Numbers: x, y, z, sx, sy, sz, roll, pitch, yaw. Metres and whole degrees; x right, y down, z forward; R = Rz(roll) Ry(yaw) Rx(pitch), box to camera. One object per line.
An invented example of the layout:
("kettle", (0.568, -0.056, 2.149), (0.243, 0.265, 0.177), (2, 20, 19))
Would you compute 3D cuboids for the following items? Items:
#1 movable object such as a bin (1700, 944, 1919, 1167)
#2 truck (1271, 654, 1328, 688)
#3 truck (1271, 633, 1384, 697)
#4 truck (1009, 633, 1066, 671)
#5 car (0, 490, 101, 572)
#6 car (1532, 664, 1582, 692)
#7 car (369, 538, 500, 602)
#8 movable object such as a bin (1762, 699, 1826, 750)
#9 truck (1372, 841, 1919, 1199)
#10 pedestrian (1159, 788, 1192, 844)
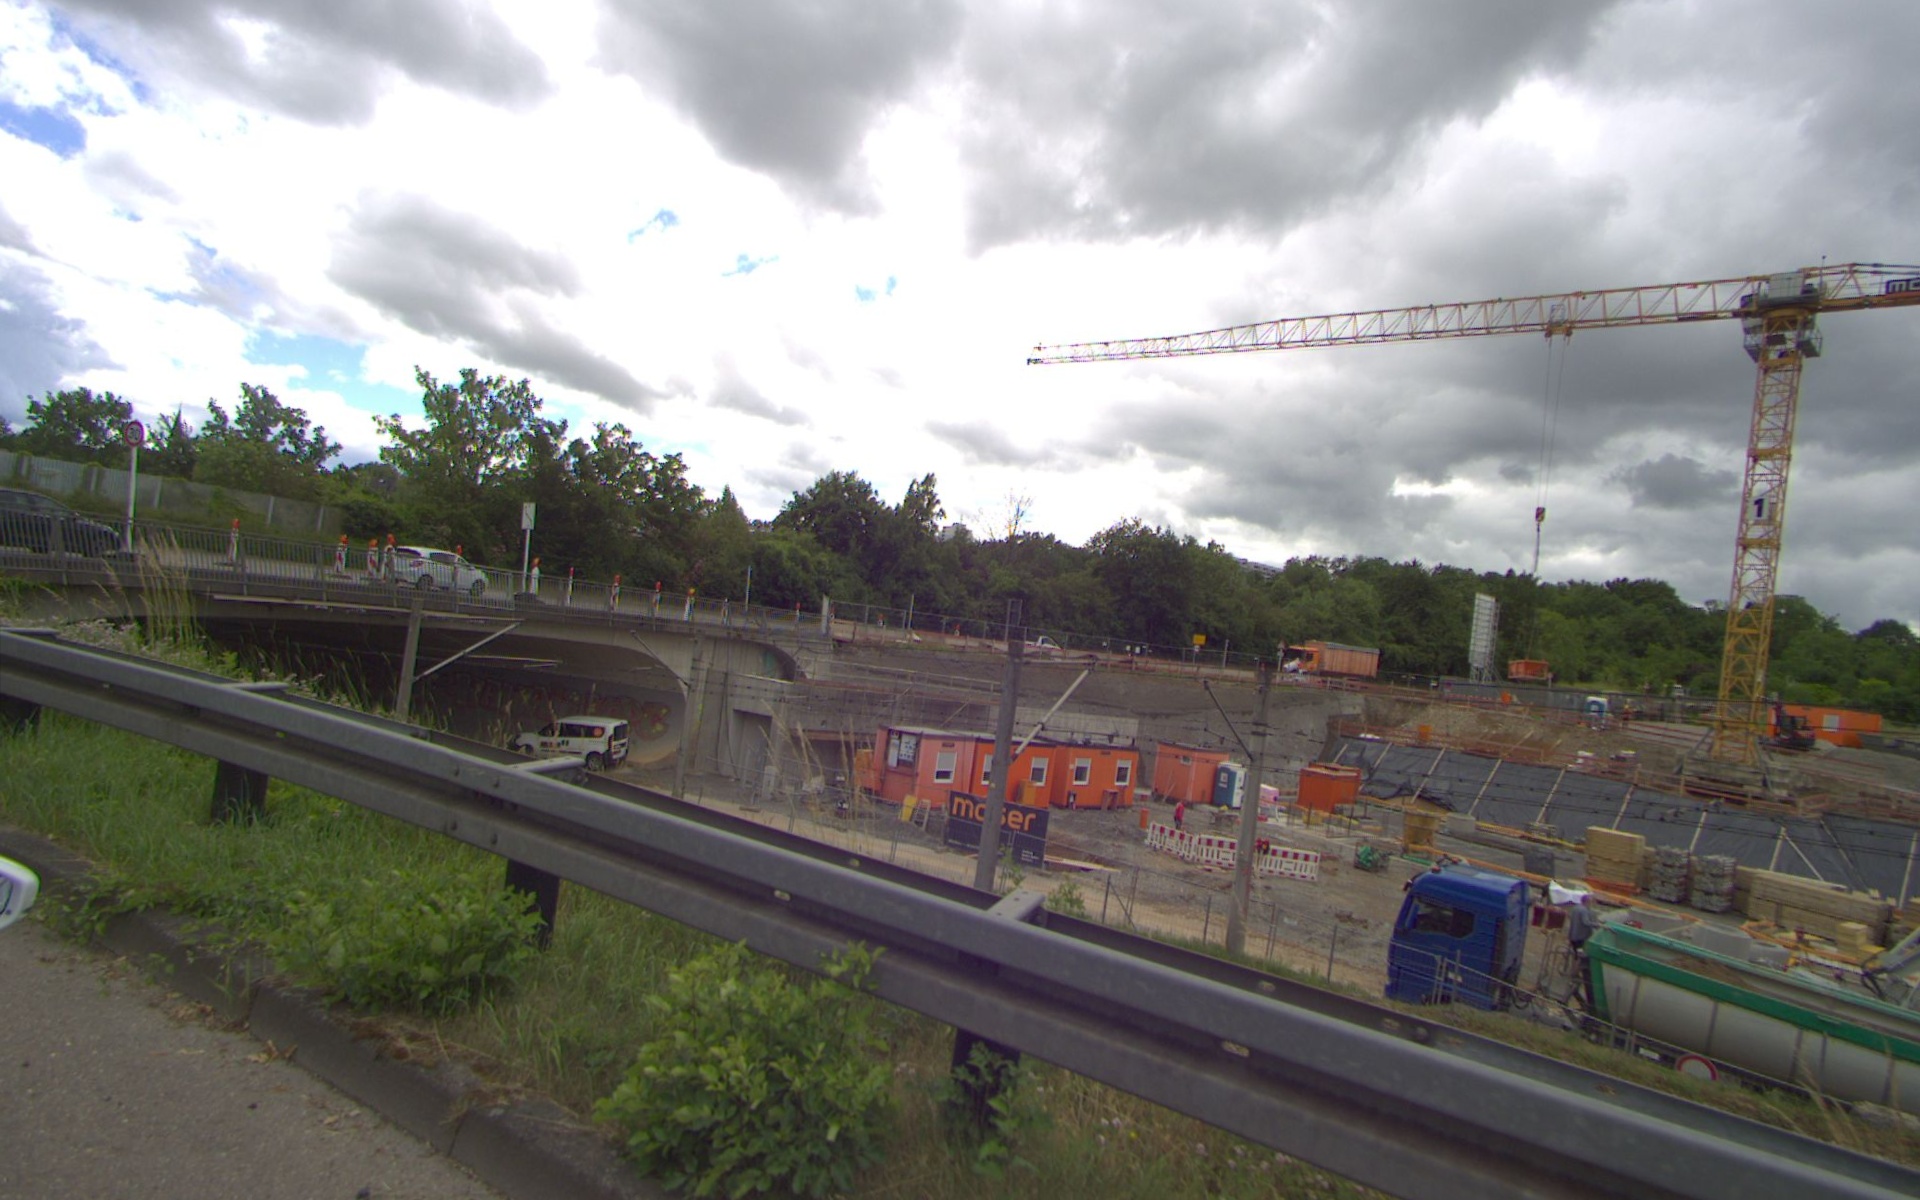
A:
("movable object such as a bin", (18.874, 9.468, 21.164), (3.018, 2.782, 4.250), (9, 0, -32))
("truck", (27.183, 5.665, 80.440), (3.961, 2.034, 1.986), (11, -4, -29))
("truck", (31.854, 5.647, 87.067), (9.680, 4.270, 3.100), (8, -1, -27))
("truck", (5.292, 3.532, 68.507), (3.197, 2.034, 1.727), (11, -4, -30))
("car", (-22.090, -1.753, 22.610), (1.790, 1.568, 3.797), (8, -4, 11))
("car", (55.046, 7.190, 92.721), (3.952, 2.036, 1.989), (8, -3, -26))
("car", (-18.773, -1.037, 36.141), (1.685, 1.693, 4.006), (6, -3, 17))
("movable object such as a bin", (57.666, 8.597, 69.583), (1.821, 3.112, 2.782), (8, -2, -29))
("truck", (14.450, 8.156, 19.273), (11.454, 3.939, 2.836), (8, -1, 41))
("pedestrian", (8.409, 8.431, 39.235), (0.694, 2.033, 0.801), (5, -6, 42))
